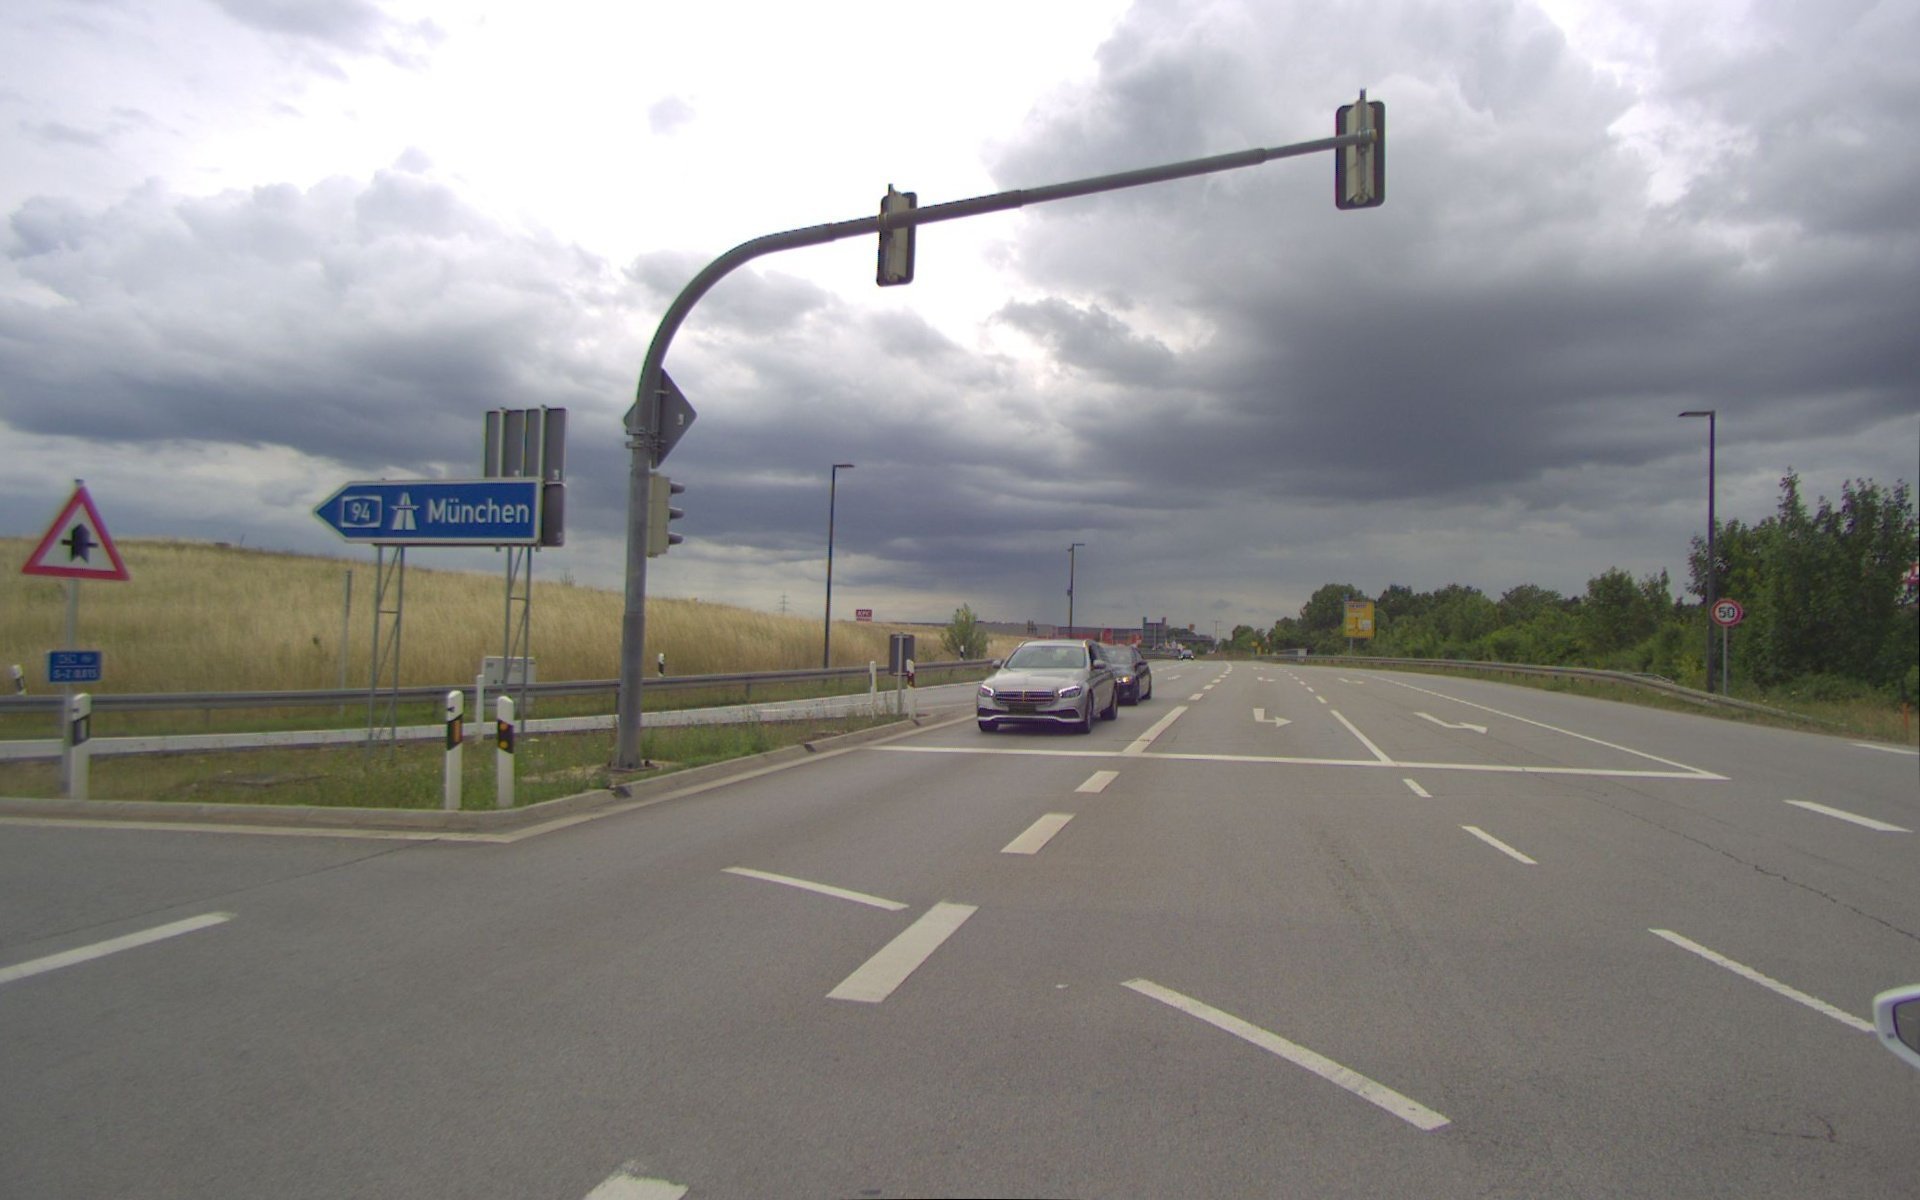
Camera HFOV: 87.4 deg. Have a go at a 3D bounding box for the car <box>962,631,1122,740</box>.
[{"bbox_3d":[1.616,1.404,17.711,1.882,1.631,4.952,-2,-3,15],"label":"car"}]

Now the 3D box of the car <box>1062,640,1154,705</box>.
[{"bbox_3d":[3.779,1.760,24.981,1.678,1.429,4.678,0,-3,16],"label":"car"}]

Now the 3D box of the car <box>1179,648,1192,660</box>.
[{"bbox_3d":[32.707,7.832,145.778,1.767,1.570,4.004,0,-3,13],"label":"car"}]
